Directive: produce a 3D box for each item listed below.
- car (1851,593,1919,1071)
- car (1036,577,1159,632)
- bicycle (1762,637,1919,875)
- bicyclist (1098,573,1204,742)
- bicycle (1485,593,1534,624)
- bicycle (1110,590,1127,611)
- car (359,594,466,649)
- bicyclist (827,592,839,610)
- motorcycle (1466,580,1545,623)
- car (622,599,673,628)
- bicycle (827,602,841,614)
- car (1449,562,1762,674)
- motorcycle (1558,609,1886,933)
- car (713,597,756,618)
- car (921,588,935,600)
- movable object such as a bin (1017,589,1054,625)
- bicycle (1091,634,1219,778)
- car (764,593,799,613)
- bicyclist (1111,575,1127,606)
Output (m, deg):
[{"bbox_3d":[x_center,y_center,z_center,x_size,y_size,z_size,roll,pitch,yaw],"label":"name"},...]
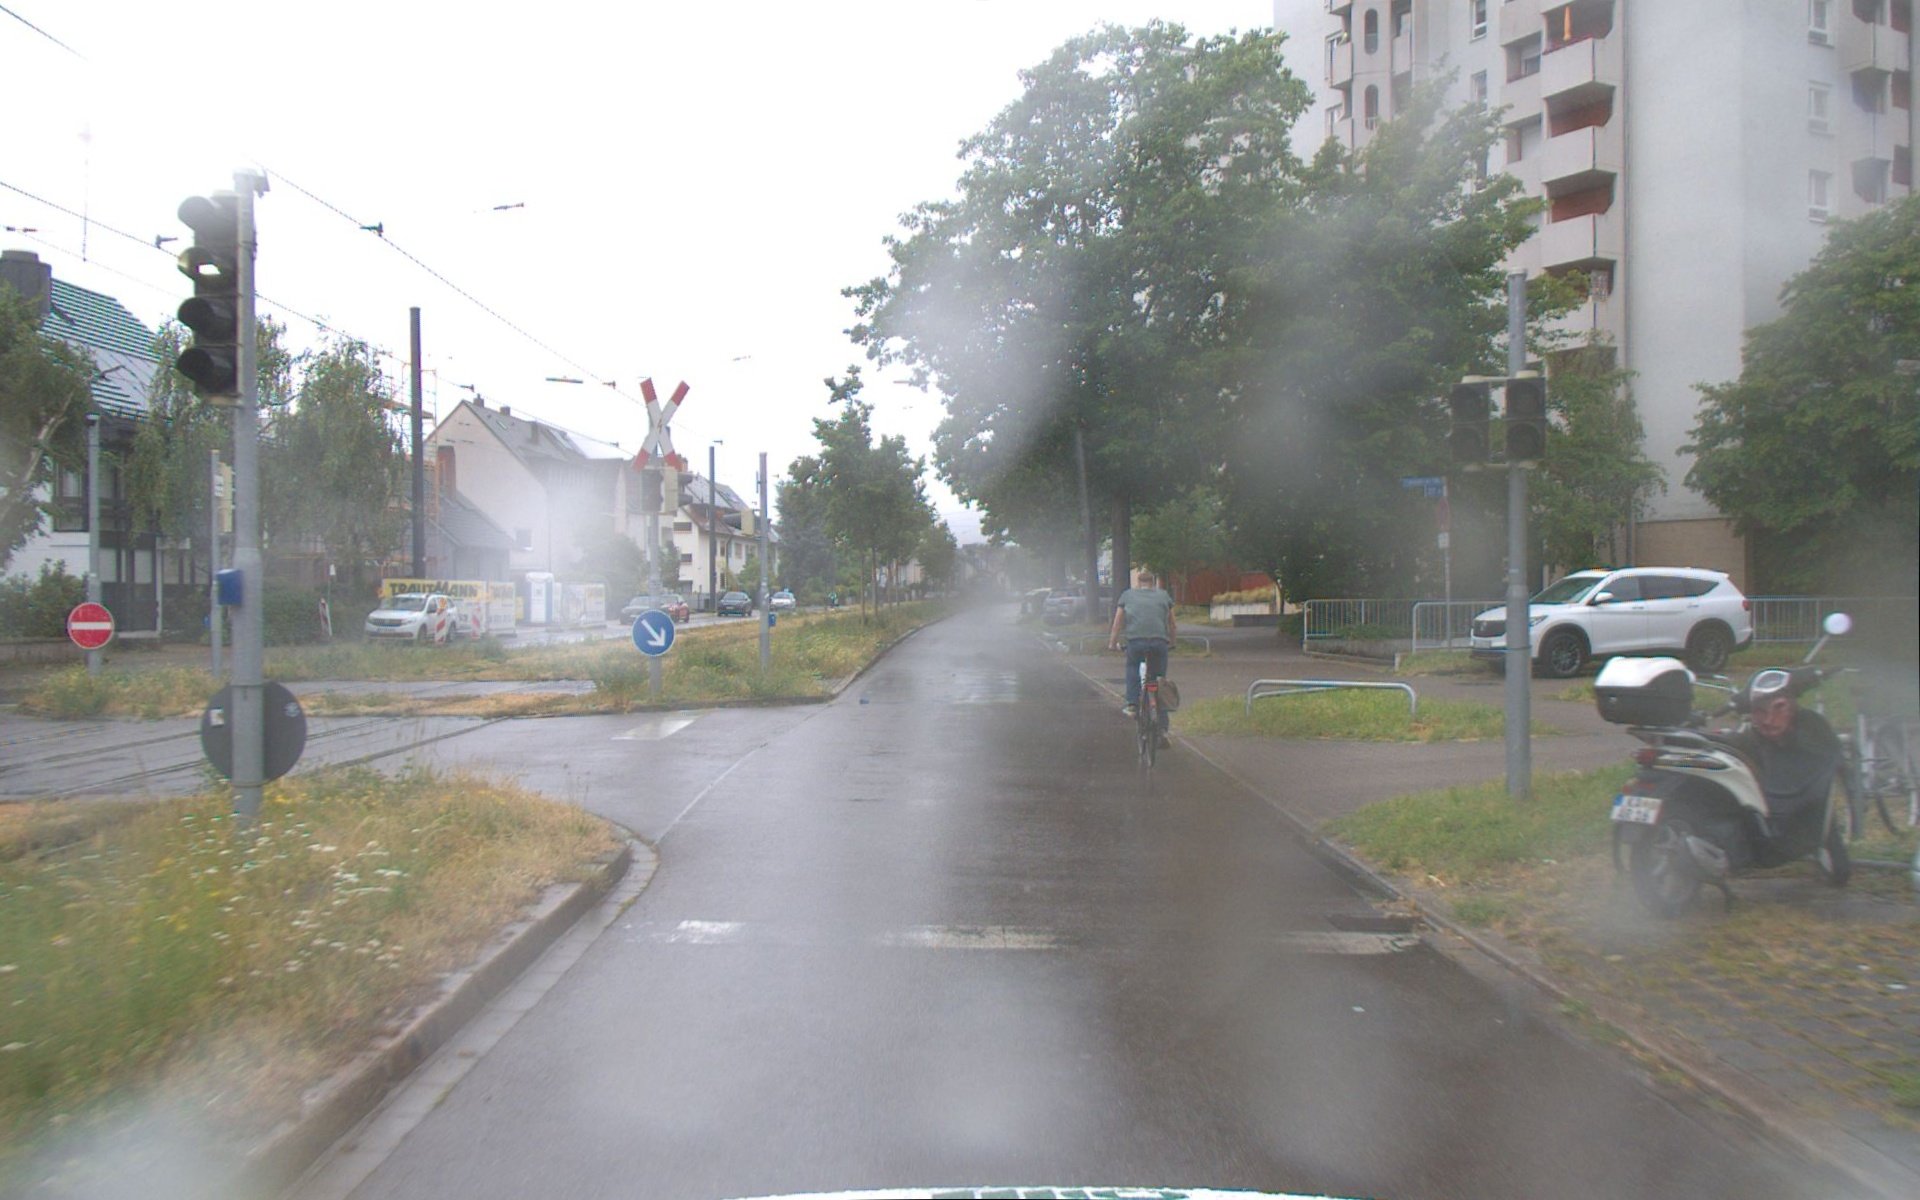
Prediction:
[{"bbox_3d":[4.935,0.648,5.725,4.081,1.447,1.716,-2,1,-37],"label":"car"},{"bbox_3d":[5.067,0.143,60.809,4.094,1.749,1.979,-4,2,-31],"label":"car"},{"bbox_3d":[5.190,0.813,9.344,0.618,1.121,1.944,-1,1,43],"label":"bicycle"},{"bbox_3d":[1.713,0.501,14.978,0.793,1.458,1.060,-1,0,-1],"label":"bicyclist"},{"bbox_3d":[16.745,0.267,50.410,0.404,0.941,1.446,-1,0,-36],"label":"bicycle"},{"bbox_3d":[8.481,0.009,88.428,0.719,1.075,2.051,-1,0,1],"label":"bicycle"},{"bbox_3d":[-16.973,0.639,51.475,1.675,1.569,4.423,2,0,2],"label":"car"},{"bbox_3d":[-11.861,0.107,154.564,0.997,1.715,1.092,-1,0,1],"label":"bicyclist"},{"bbox_3d":[17.074,0.054,51.841,0.876,1.311,2.273,-1,0,-36],"label":"motorcycle"},{"bbox_3d":[-15.212,0.643,80.699,1.629,1.266,4.072,2,0,1],"label":"car"},{"bbox_3d":[-11.826,0.758,155.279,0.997,1.045,3.197,-1,0,1],"label":"bicycle"},{"bbox_3d":[10.941,0.275,28.119,4.723,1.776,1.992,-1,0,-15],"label":"car"},{"bbox_3d":[3.722,0.751,8.023,1.761,1.360,0.680,-2,1,-37],"label":"motorcycle"},{"bbox_3d":[-14.535,0.484,106.830,1.857,1.266,4.690,2,0,4],"label":"car"},{"bbox_3d":[-4.810,-0.866,248.150,1.805,1.701,4.001,-1,0,1],"label":"car"},{"bbox_3d":[3.407,0.295,74.412,1.109,1.482,1.393,-6,2,-20],"label":"movable object such as a bin"},{"bbox_3d":[1.724,0.909,15.044,0.793,1.116,2.516,-1,0,-1],"label":"bicycle"},{"bbox_3d":[-13.877,0.219,128.914,1.857,1.495,4.690,2,0,4],"label":"car"},{"bbox_3d":[8.485,-0.504,88.404,0.719,1.622,0.945,-1,0,1],"label":"bicyclist"}]
